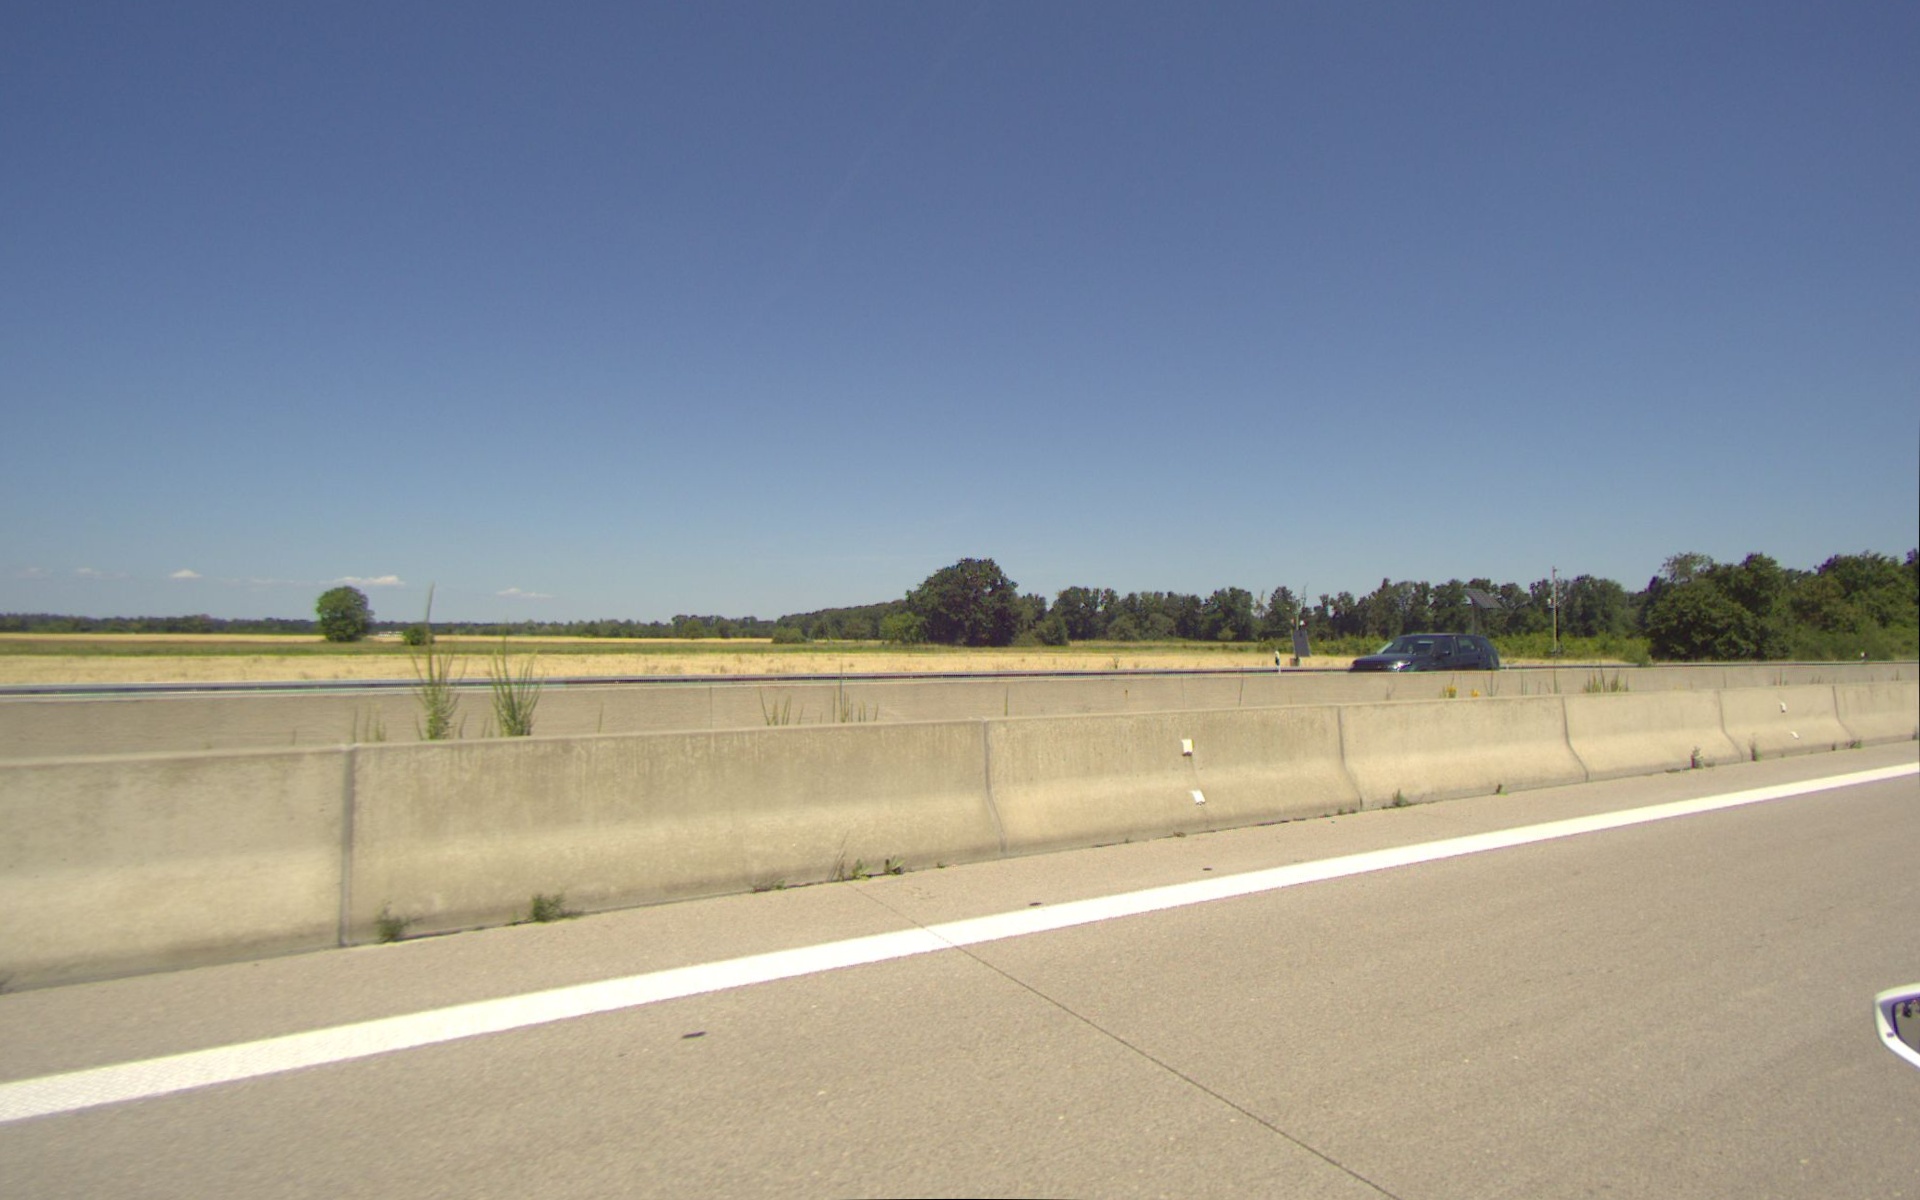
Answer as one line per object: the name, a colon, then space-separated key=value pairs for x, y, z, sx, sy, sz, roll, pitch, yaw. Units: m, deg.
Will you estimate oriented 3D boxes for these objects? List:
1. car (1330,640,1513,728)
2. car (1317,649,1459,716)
car: x=11.453 y=2.005 z=24.881 sx=4.349 sy=1.940 sz=1.984 roll=2 pitch=0 yaw=-30
car: x=12.907 y=2.422 z=30.286 sx=3.953 sy=1.806 sz=1.984 roll=2 pitch=0 yaw=-30
